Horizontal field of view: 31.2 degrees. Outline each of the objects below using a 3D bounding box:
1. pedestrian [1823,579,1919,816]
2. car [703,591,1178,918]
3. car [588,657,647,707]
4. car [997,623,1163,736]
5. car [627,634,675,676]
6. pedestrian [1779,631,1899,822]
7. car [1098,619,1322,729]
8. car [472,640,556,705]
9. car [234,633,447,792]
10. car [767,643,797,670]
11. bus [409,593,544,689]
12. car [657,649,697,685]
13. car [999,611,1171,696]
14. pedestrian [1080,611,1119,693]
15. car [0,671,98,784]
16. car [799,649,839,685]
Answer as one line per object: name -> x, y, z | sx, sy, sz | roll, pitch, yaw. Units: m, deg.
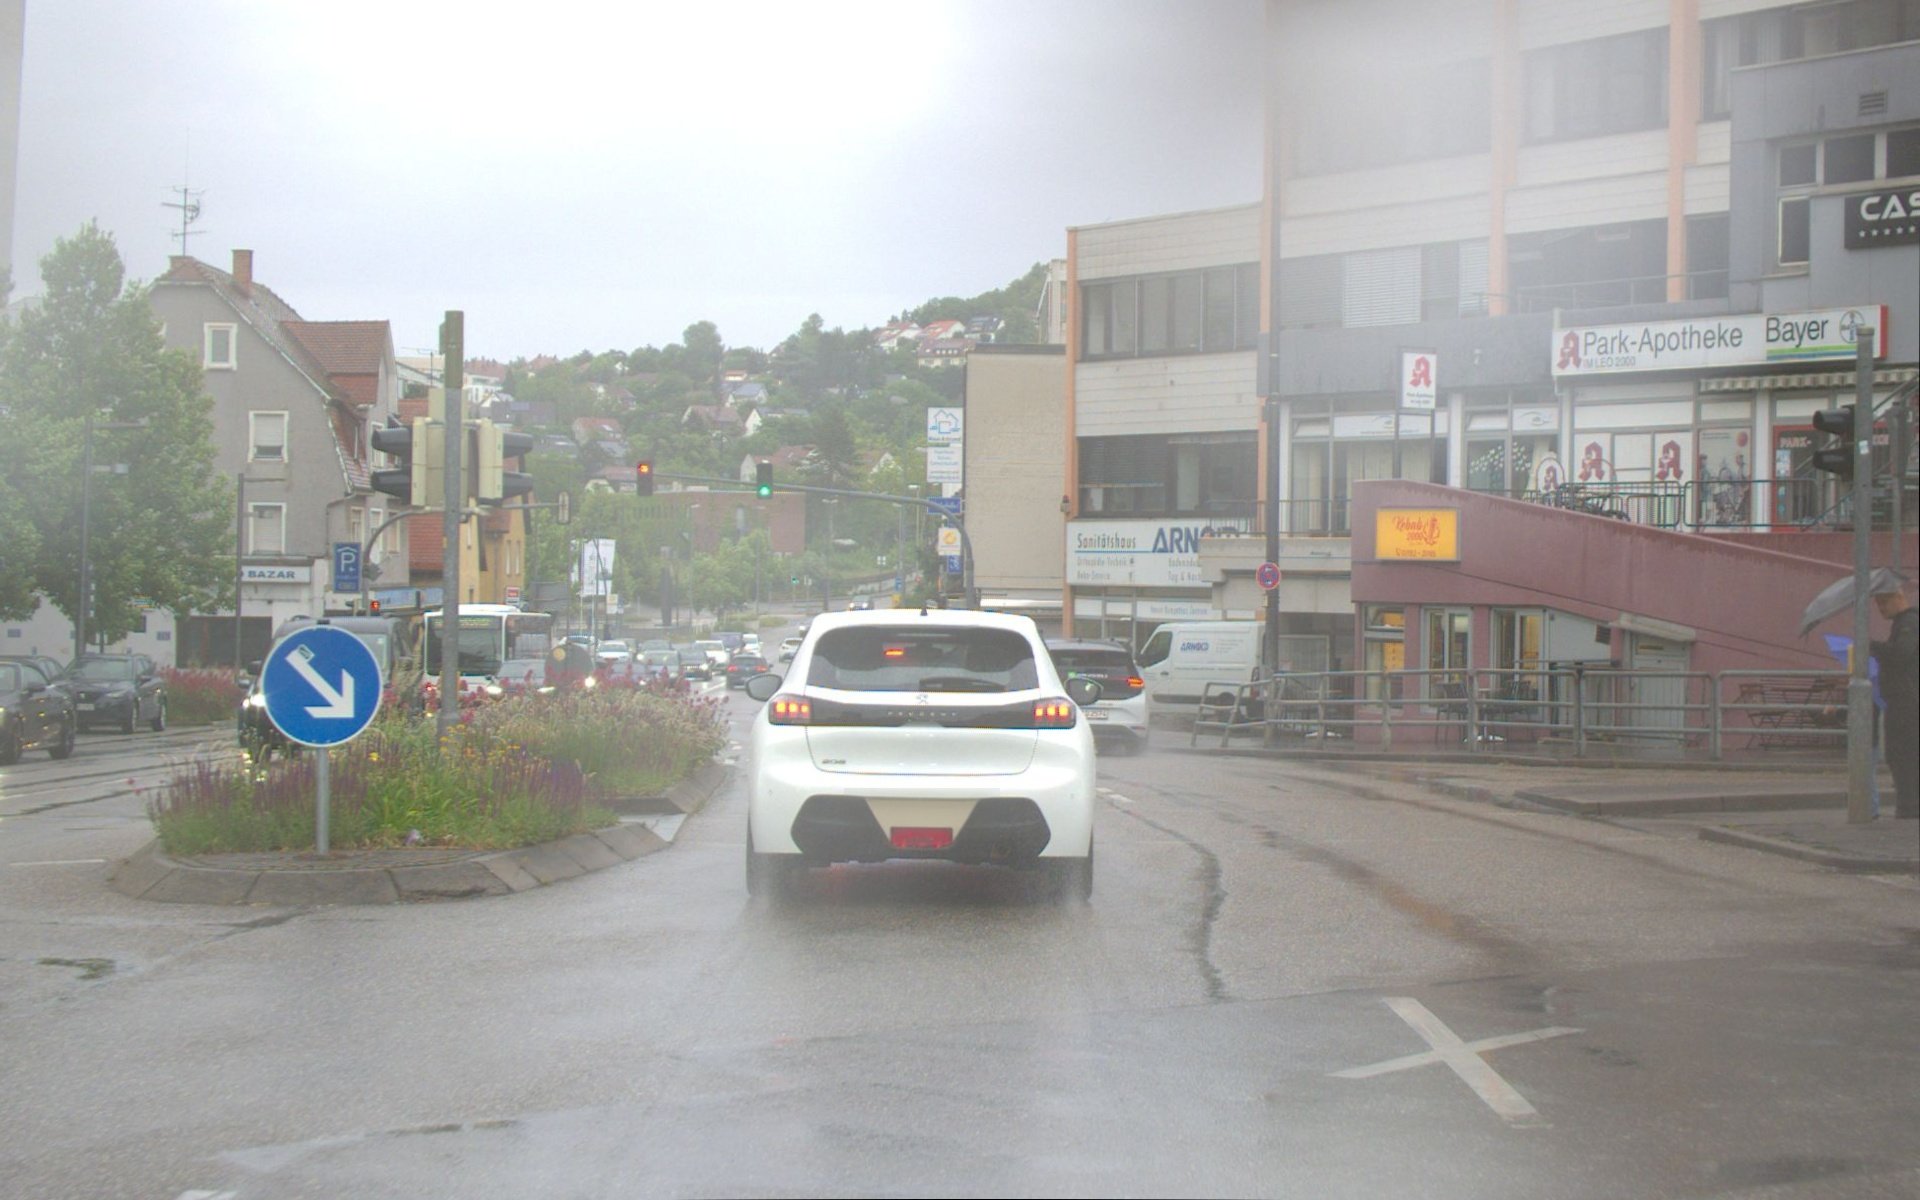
pedestrian -> 6.387, 0.663, 23.716 | 0.707, 1.602, 0.655 | 0, 1, 2
car -> 0.020, 0.709, 17.985 | 1.872, 1.457, 3.872 | 2, 0, 9
car -> -11.442, 2.733, 114.984 | 1.815, 1.550, 4.000 | 0, 0, -4
car -> 1.558, 1.031, 45.832 | 1.911, 1.395, 3.458 | 1, 0, -3
car -> -12.159, 2.153, 135.478 | 1.746, 1.550, 4.000 | 0, 0, -3
pedestrian -> 6.284, 0.895, 24.600 | 0.707, 1.341, 0.655 | 0, 0, 2
car -> 5.308, 1.550, 73.564 | 1.994, 2.219, 4.975 | 0, 0, -37
car -> -11.356, 1.822, 87.746 | 1.892, 1.550, 4.001 | 0, 0, -4
car -> -7.629, 1.390, 42.731 | 1.993, 1.817, 4.298 | -2, -2, -2
car -> -10.667, 3.362, 205.880 | 1.746, 1.550, 4.000 | 0, 0, -3
bus -> -14.760, 1.192, 105.562 | 2.938, 2.774, 9.504 | 0, 0, -1
car -> -13.083, 3.102, 159.090 | 1.746, 1.550, 4.000 | 0, 0, -3
car -> 2.849, 1.200, 79.060 | 1.885, 1.872, 4.135 | 0, 0, -34
pedestrian -> 3.127, 1.154, 76.958 | 0.640, 1.816, 0.582 | 0, 0, -34
car -> -12.899, 1.677, 46.062 | 1.725, 1.383, 4.600 | -1, 0, -2
car -> -6.477, 3.061, 157.718 | 1.746, 1.550, 4.000 | 0, 0, -3
